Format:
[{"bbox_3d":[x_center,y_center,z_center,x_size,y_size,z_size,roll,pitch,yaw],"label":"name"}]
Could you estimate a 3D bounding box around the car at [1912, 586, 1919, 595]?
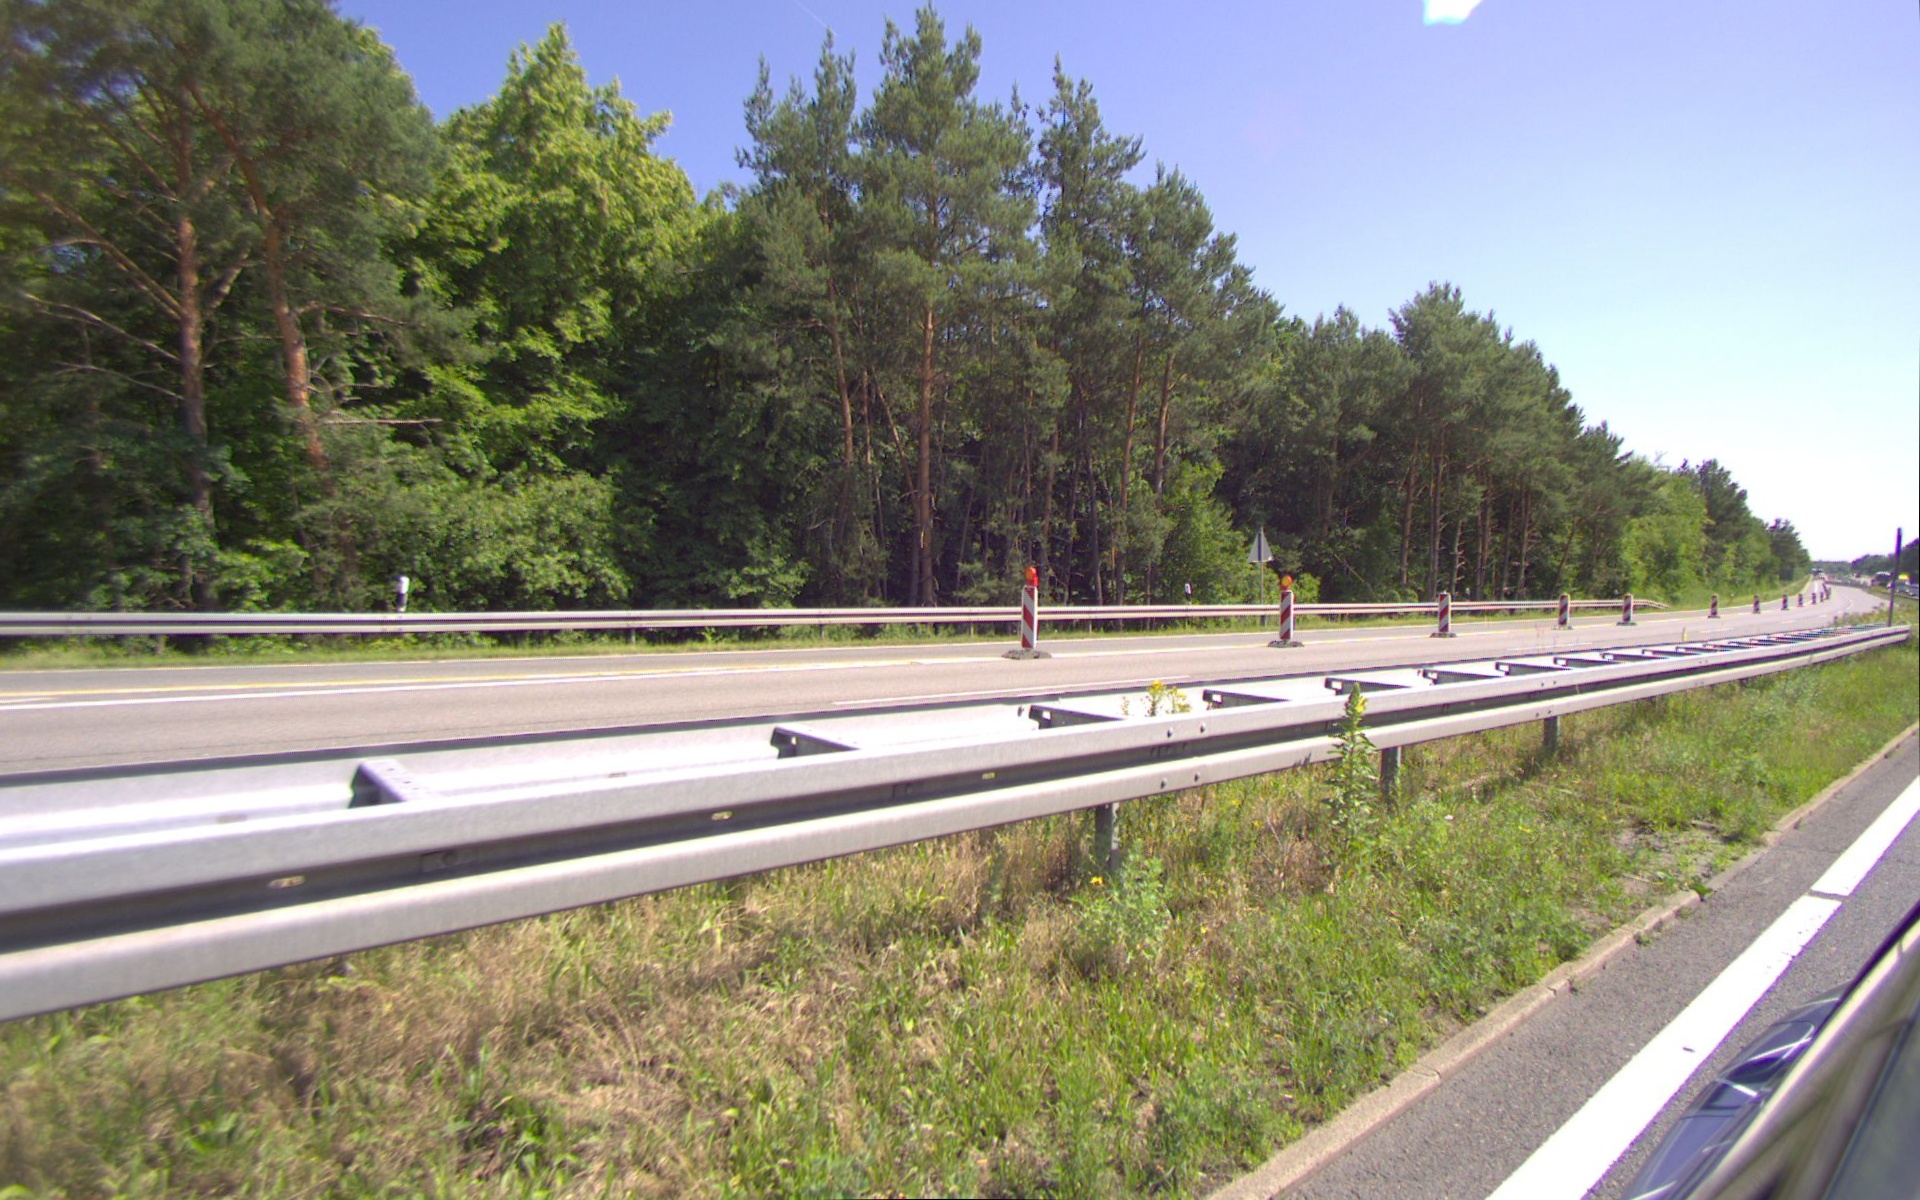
[{"bbox_3d":[175.774,-1.713,185.761,1.523,1.677,3.918,2,1,43],"label":"car"}]
